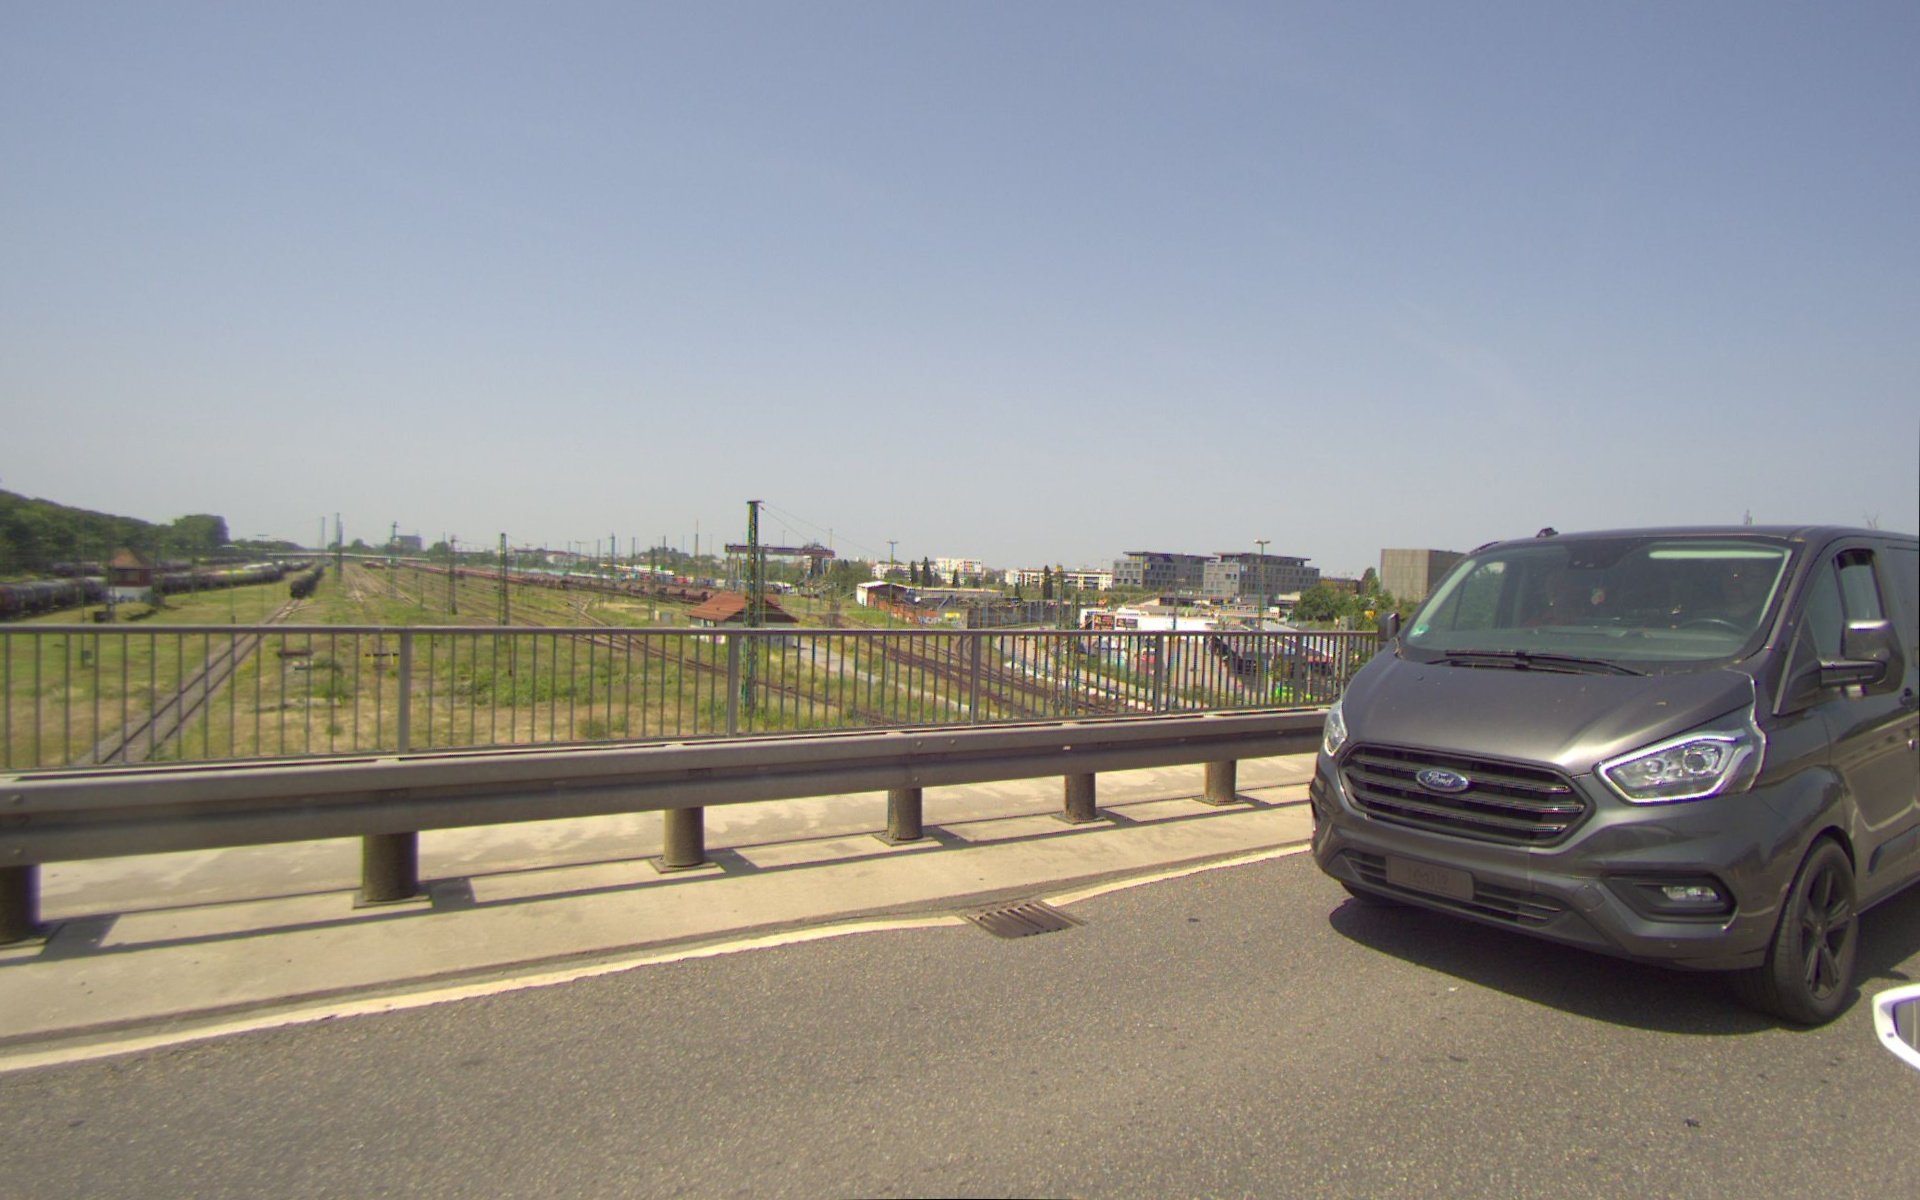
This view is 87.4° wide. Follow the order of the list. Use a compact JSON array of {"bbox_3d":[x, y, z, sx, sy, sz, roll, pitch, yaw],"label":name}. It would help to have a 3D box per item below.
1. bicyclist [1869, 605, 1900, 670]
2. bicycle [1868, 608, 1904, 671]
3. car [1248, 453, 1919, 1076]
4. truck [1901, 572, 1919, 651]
[{"bbox_3d":[27.876,1.113,30.304,0.617,1.911,0.709,1,1,40],"label":"bicyclist"},{"bbox_3d":[27.886,1.161,30.274,0.690,1.826,2.170,1,1,41],"label":"bicycle"},{"bbox_3d":[4.118,0.598,5.510,5.217,1.985,1.994,2,-1,-34],"label":"car"},{"bbox_3d":[56.174,0.661,56.452,3.522,4.500,6.499,1,1,32],"label":"truck"}]
